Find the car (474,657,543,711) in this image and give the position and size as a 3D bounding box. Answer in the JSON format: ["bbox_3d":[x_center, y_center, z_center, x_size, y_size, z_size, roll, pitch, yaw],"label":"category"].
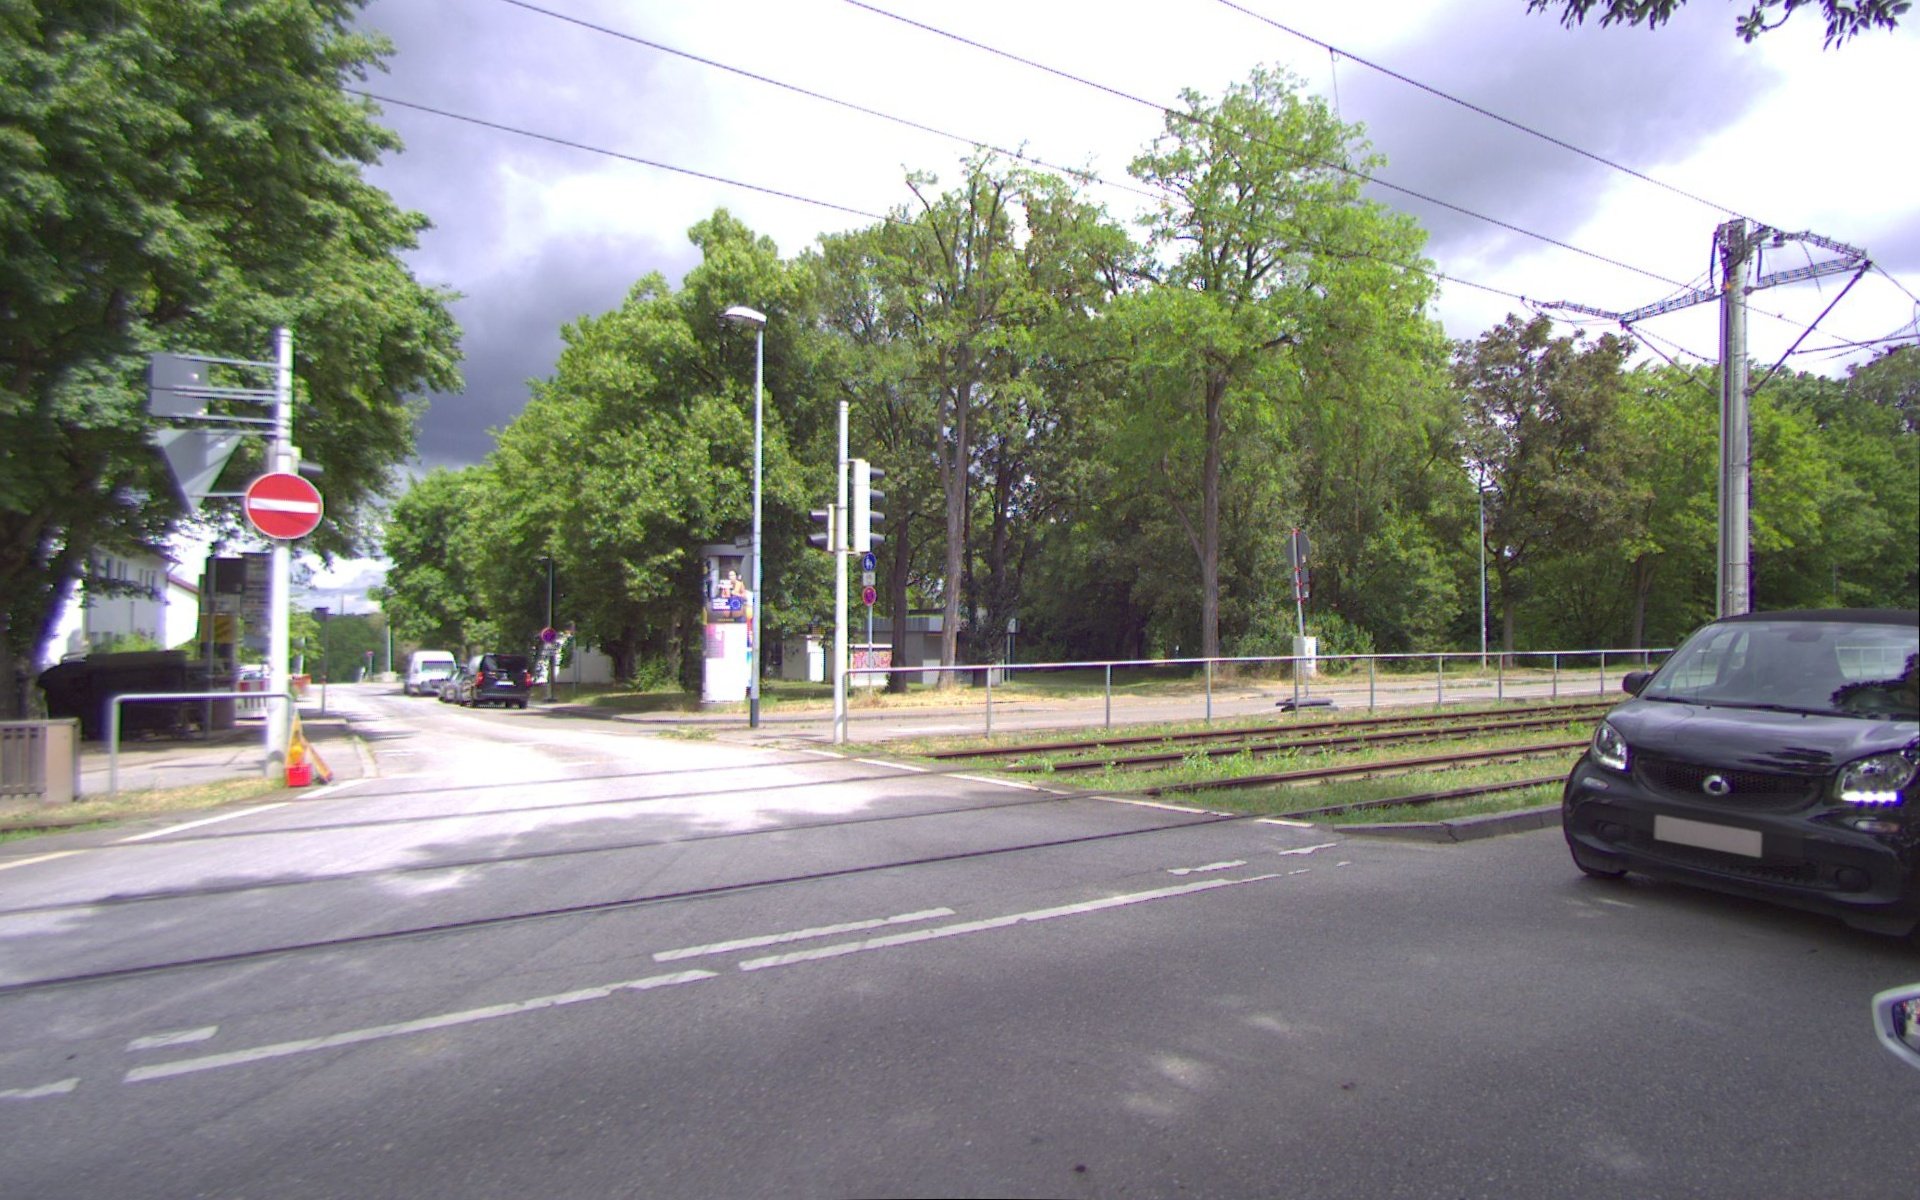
[{"bbox_3d":[-16.599,3.044,36.828,1.976,1.882,3.971,2,-4,-29],"label":"car"}]

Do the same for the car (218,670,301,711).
[{"bbox_3d":[-38.742,4.967,55.670,3.584,2.040,1.948,2,0,-31],"label":"car"}]

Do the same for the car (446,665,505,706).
[{"bbox_3d":[-20.305,3.525,42.027,1.833,1.508,3.967,2,-2,-31],"label":"car"}]

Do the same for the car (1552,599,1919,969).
[{"bbox_3d":[5.073,0.795,5.708,3.238,1.554,1.628,1,0,-32],"label":"car"}]

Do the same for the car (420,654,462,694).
[{"bbox_3d":[-29.438,4.181,56.966,1.976,2.129,3.971,2,-4,-29],"label":"car"}]
